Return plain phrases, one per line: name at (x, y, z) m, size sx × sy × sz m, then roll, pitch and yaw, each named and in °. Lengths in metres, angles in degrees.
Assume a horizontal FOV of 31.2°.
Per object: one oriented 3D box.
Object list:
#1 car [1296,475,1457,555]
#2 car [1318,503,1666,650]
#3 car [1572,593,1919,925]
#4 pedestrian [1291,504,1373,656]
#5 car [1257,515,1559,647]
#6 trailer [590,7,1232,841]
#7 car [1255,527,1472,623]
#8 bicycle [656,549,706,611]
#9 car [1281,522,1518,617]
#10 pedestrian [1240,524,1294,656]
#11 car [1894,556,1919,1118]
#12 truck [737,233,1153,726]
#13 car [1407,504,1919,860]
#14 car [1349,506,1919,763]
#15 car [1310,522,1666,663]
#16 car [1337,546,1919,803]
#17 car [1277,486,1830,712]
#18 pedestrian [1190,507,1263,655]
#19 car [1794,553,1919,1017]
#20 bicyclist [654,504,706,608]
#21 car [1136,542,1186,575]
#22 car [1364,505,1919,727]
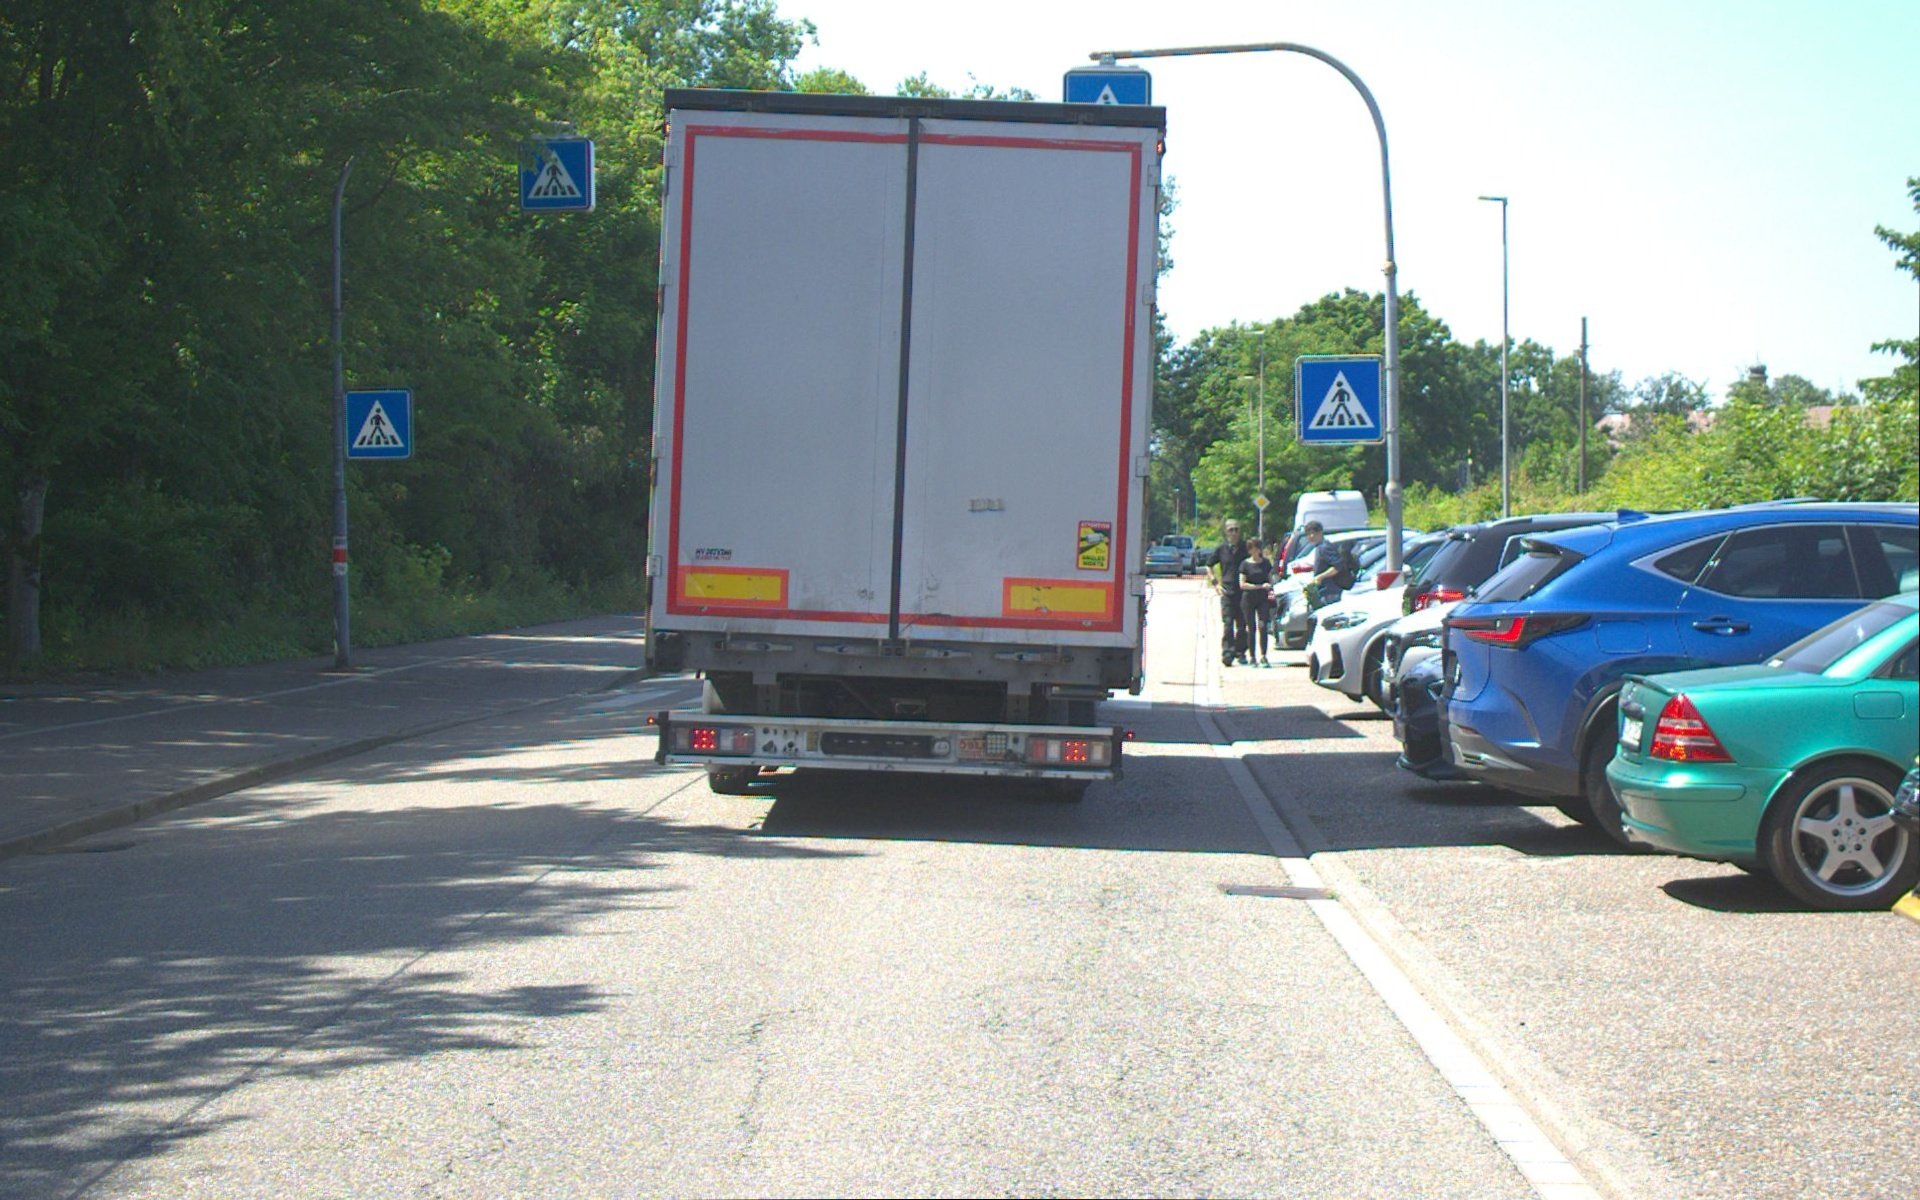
car at (10.638, -2.160, 87.974) m, size 3.957 × 1.792 × 1.813 m, roll -2°, pitch -2°, yaw 5°
car at (6.633, -0.297, 43.126) m, size 3.956 × 1.663 × 1.814 m, roll -2°, pitch 0°, yaw -3°
car at (4.589, 0.596, 14.480) m, size 3.735 × 1.264 × 1.628 m, roll -2°, pitch 0°, yaw 3°
pedestrian at (4.513, -0.243, 41.650) m, size 0.908 × 1.792 × 0.935 m, roll -2°, pitch 0°, yaw 7°
car at (6.362, -0.283, 49.049) m, size 3.956 × 1.662 × 1.814 m, roll -2°, pitch 3°, yaw -4°
trailer at (-0.173, -1.030, 23.000) m, size 3.113 × 4.088 × 11.537 m, roll 2°, pitch 1°, yaw 1°
car at (7.872, -0.492, 67.323) m, size 3.956 × 1.759 × 1.814 m, roll -1°, pitch 1°, yaw -1°
bicycle at (-4.807, -0.349, 59.285) m, size 0.454 × 1.043 × 2.203 m, roll 1°, pitch 1°, yaw 6°
car at (7.813, -0.551, 61.390) m, size 3.956 × 1.613 × 1.814 m, roll -1°, pitch 1°, yaw -1°
pedestrian at (3.834, -0.133, 42.900) m, size 0.589 × 1.609 × 0.744 m, roll -2°, pitch 0°, yaw 7°
car at (4.598, 0.563, 8.242) m, size 4.164 × 1.490 × 1.883 m, roll -2°, pitch 0°, yaw 1°
truck at (-0.051, -1.009, 29.612) m, size 3.114 × 3.712 × 6.414 m, roll 1°, pitch 1°, yaw 1°
car at (4.497, 0.347, 17.242) m, size 4.238 × 1.628 × 1.823 m, roll -2°, pitch 1°, yaw 1°
car at (4.837, 0.230, 23.066) m, size 4.236 × 1.648 × 1.899 m, roll 0°, pitch -1°, yaw 0°
car at (6.102, -0.091, 40.028) m, size 3.957 × 1.475 × 1.813 m, roll -2°, pitch 0°, yaw 7°
car at (4.461, 0.414, 20.298) m, size 4.129 × 1.434 × 1.815 m, roll 0°, pitch 1°, yaw -6°
car at (5.087, -0.016, 29.892) m, size 4.404 × 1.692 × 1.877 m, roll -3°, pitch 0°, yaw 0°
pedestrian at (3.403, -0.245, 43.892) m, size 0.822 × 1.828 × 0.792 m, roll -2°, pitch 0°, yaw 7°
car at (4.888, 0.512, 11.335) m, size 3.801 × 1.450 × 1.774 m, roll -2°, pitch 0°, yaw 1°
bicyclist at (-4.806, -0.760, 59.074) m, size 0.717 × 1.752 × 0.796 m, roll 1°, pitch 1°, yaw 6°
car at (9.132, -1.888, 155.707) m, size 1.781 × 1.481 × 3.998 m, roll 1°, pitch 1°, yaw 10°
car at (5.359, 0.114, 27.278) m, size 4.125 × 1.651 × 1.887 m, roll -1°, pitch 1°, yaw 2°
